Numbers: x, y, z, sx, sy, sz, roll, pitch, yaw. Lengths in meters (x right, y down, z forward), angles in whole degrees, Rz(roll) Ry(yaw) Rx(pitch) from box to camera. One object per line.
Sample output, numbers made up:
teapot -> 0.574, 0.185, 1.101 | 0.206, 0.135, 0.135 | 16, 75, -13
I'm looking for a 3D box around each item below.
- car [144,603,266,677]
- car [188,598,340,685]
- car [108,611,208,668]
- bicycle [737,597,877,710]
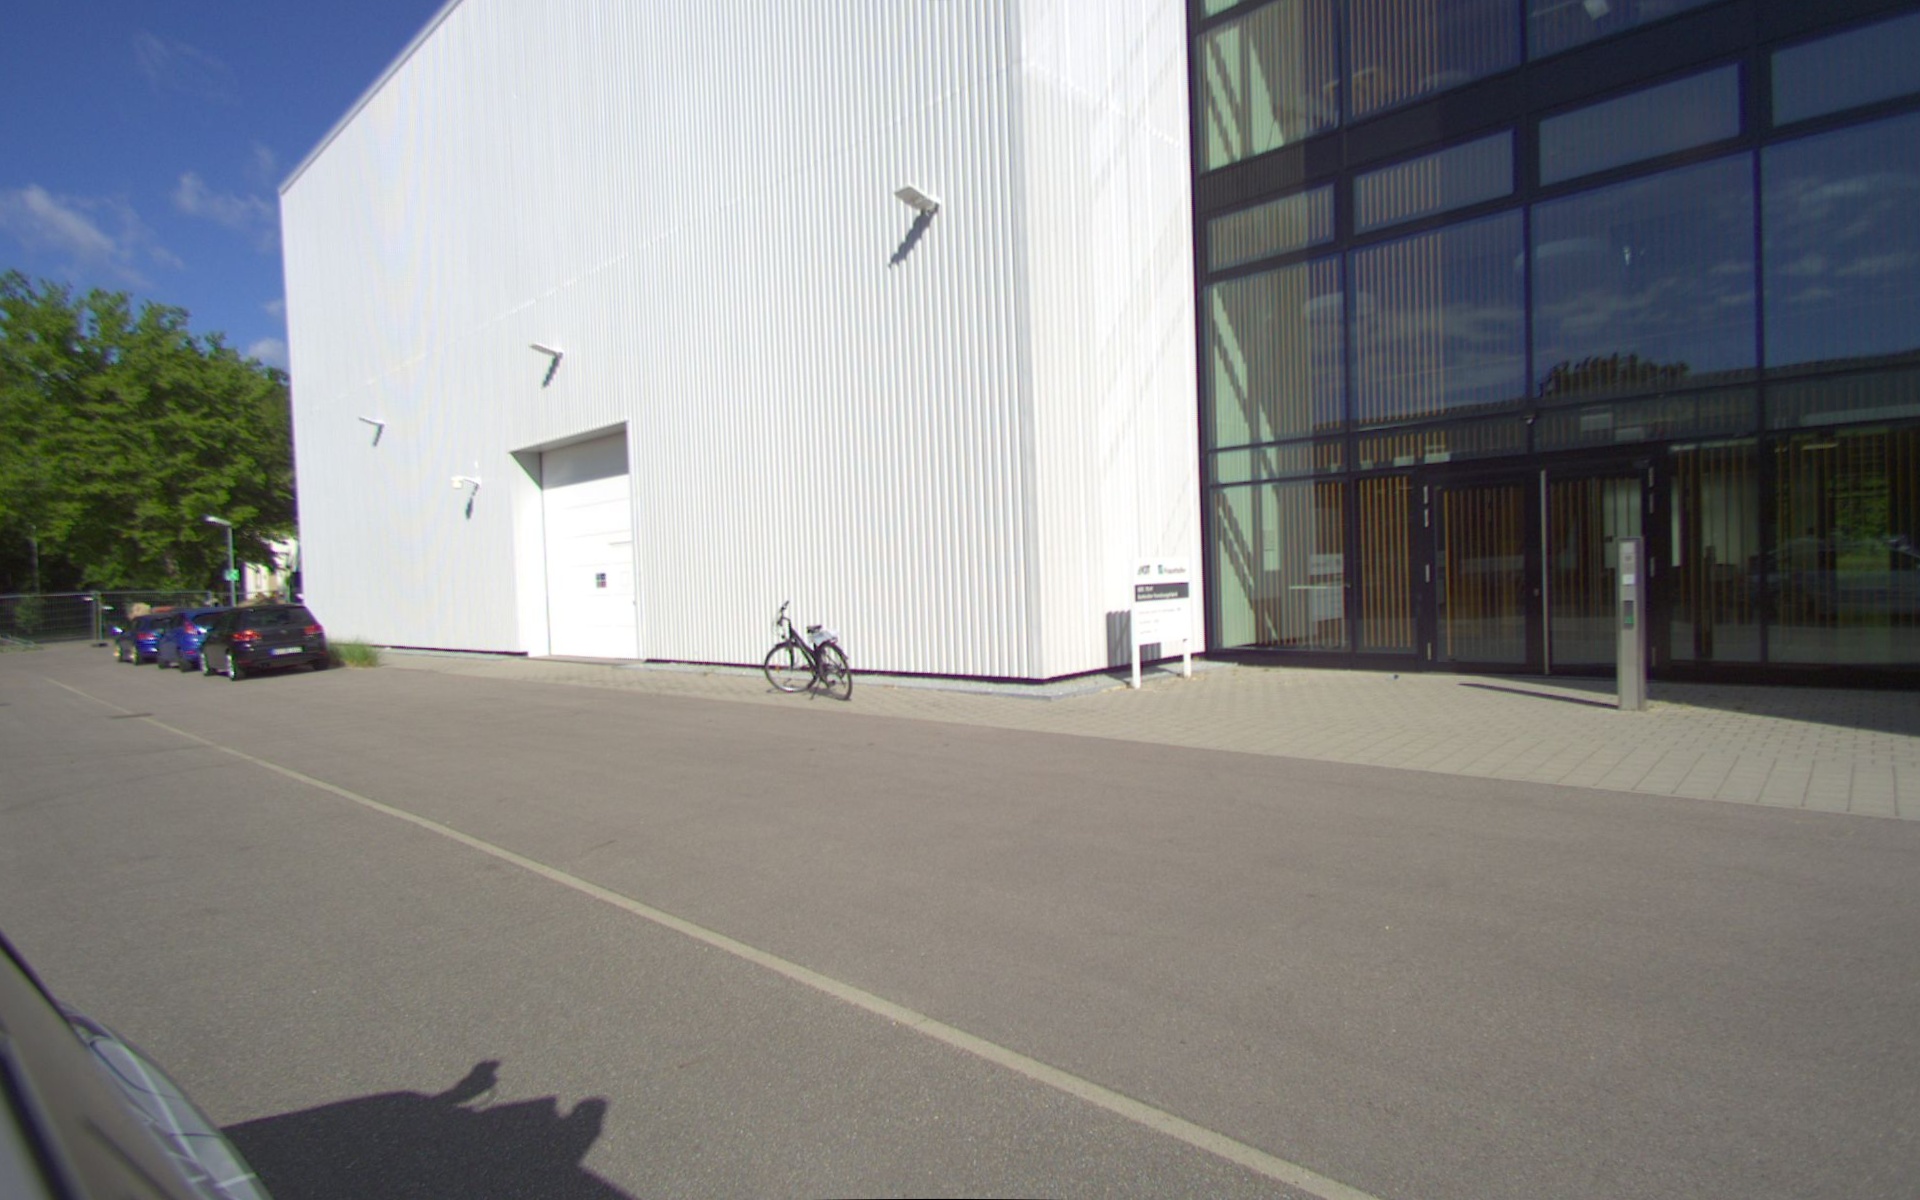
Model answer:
car -> -18.759, 0.940, 25.086 | 4.002, 1.533, 1.766 | -1, 4, 45
car -> -14.877, 0.827, 21.554 | 4.002, 1.533, 1.870 | -1, 4, 45
car -> -22.837, 1.078, 28.776 | 4.002, 1.451, 1.765 | -1, 0, 45
bicycle -> -1.879, 0.589, 12.173 | 0.895, 1.151, 1.905 | -6, 4, -32
